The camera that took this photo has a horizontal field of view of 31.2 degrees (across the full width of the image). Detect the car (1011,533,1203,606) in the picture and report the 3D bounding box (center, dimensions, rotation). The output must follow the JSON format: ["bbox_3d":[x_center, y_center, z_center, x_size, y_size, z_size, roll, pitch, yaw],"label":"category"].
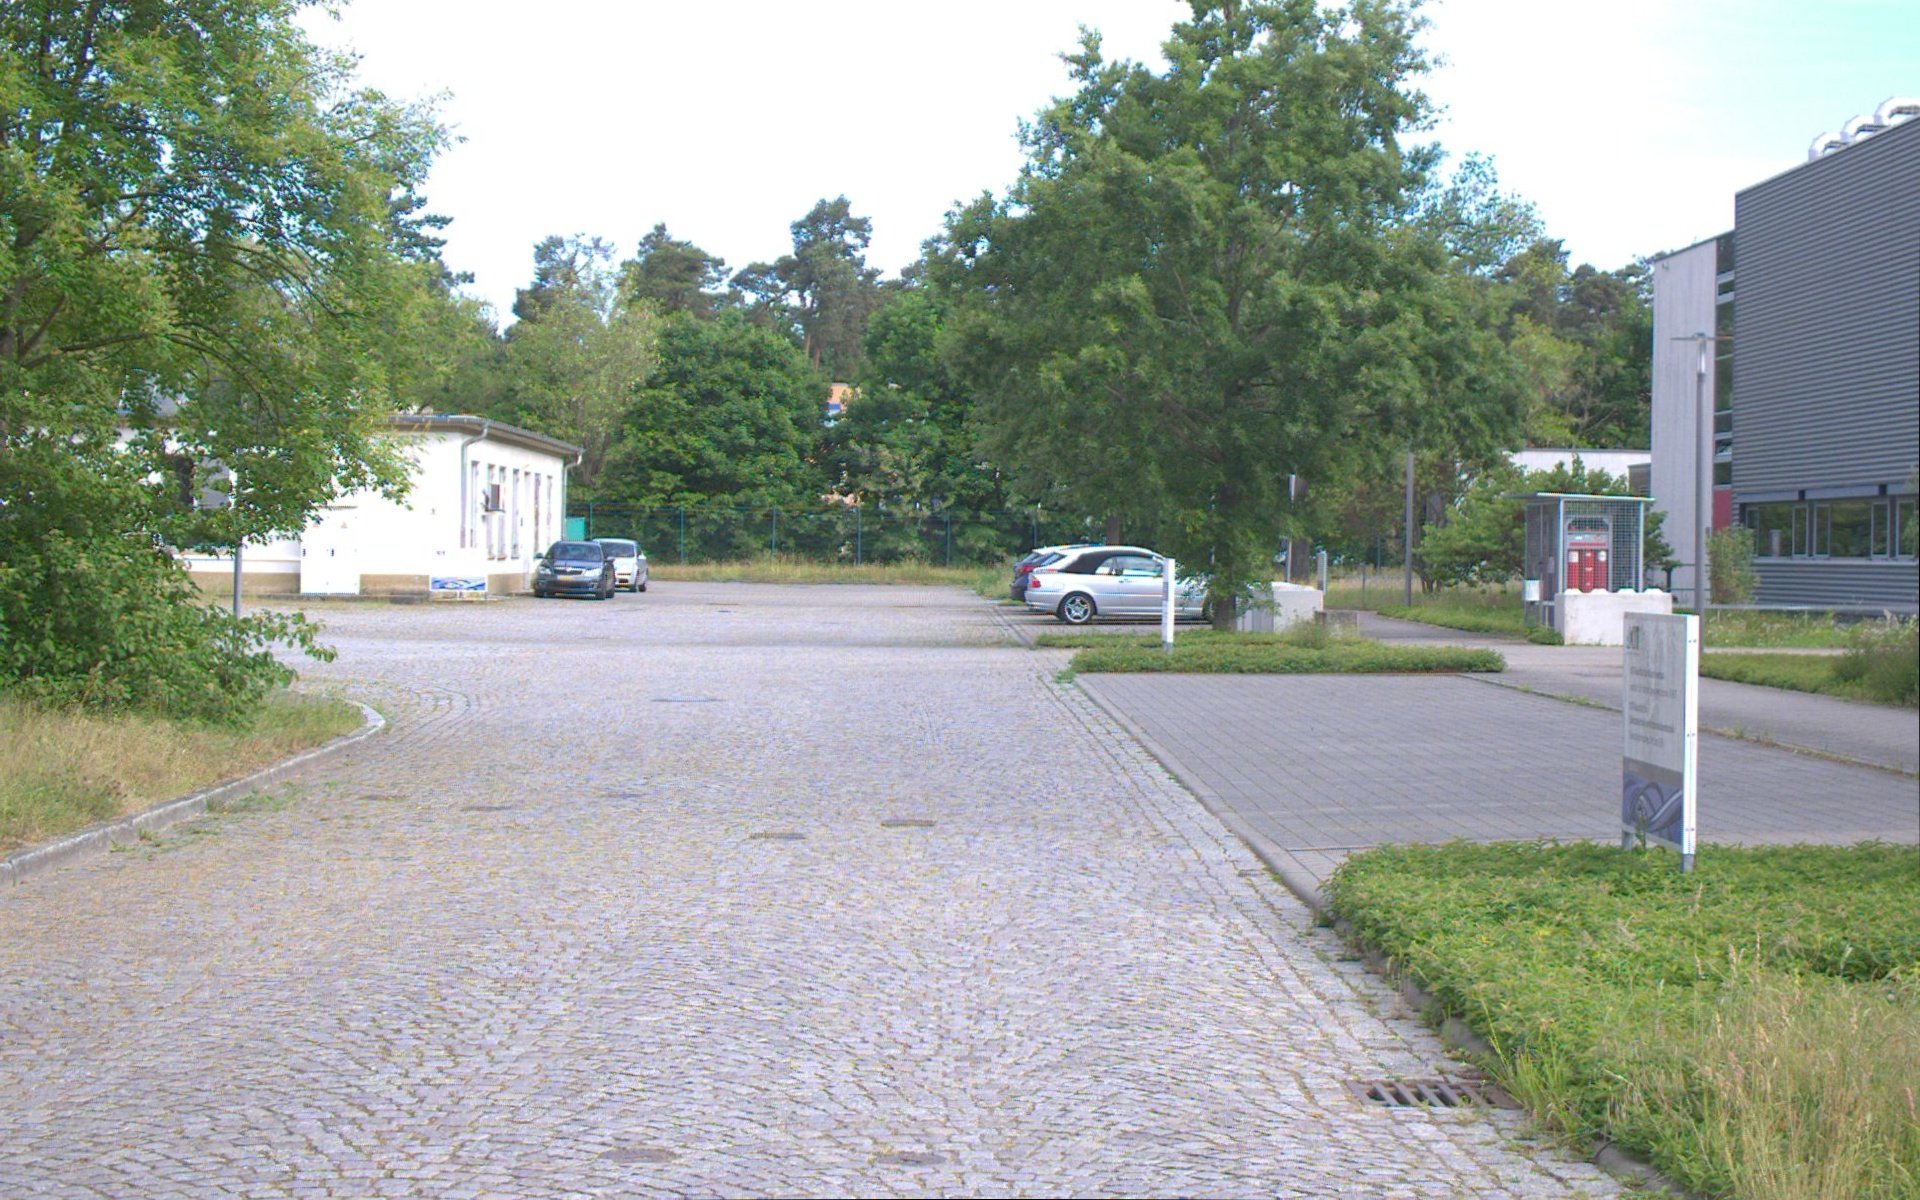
[{"bbox_3d":[3.111,-0.665,73.230,3.984,1.470,1.653,-1,1,0],"label":"car"}]

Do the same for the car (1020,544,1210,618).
[{"bbox_3d":[2.920,-0.368,65.405,3.522,1.357,1.622,-1,1,0],"label":"car"}]

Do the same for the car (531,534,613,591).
[{"bbox_3d":[-9.787,-0.967,86.853,1.648,1.364,3.998,1,1,-1],"label":"car"}]

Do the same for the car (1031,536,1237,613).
[{"bbox_3d":[3.424,-0.511,68.100,3.984,1.443,1.653,-1,1,0],"label":"car"}]

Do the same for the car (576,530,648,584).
[{"bbox_3d":[-9.825,-1.224,97.231,1.648,1.453,3.998,1,1,-1],"label":"car"}]
